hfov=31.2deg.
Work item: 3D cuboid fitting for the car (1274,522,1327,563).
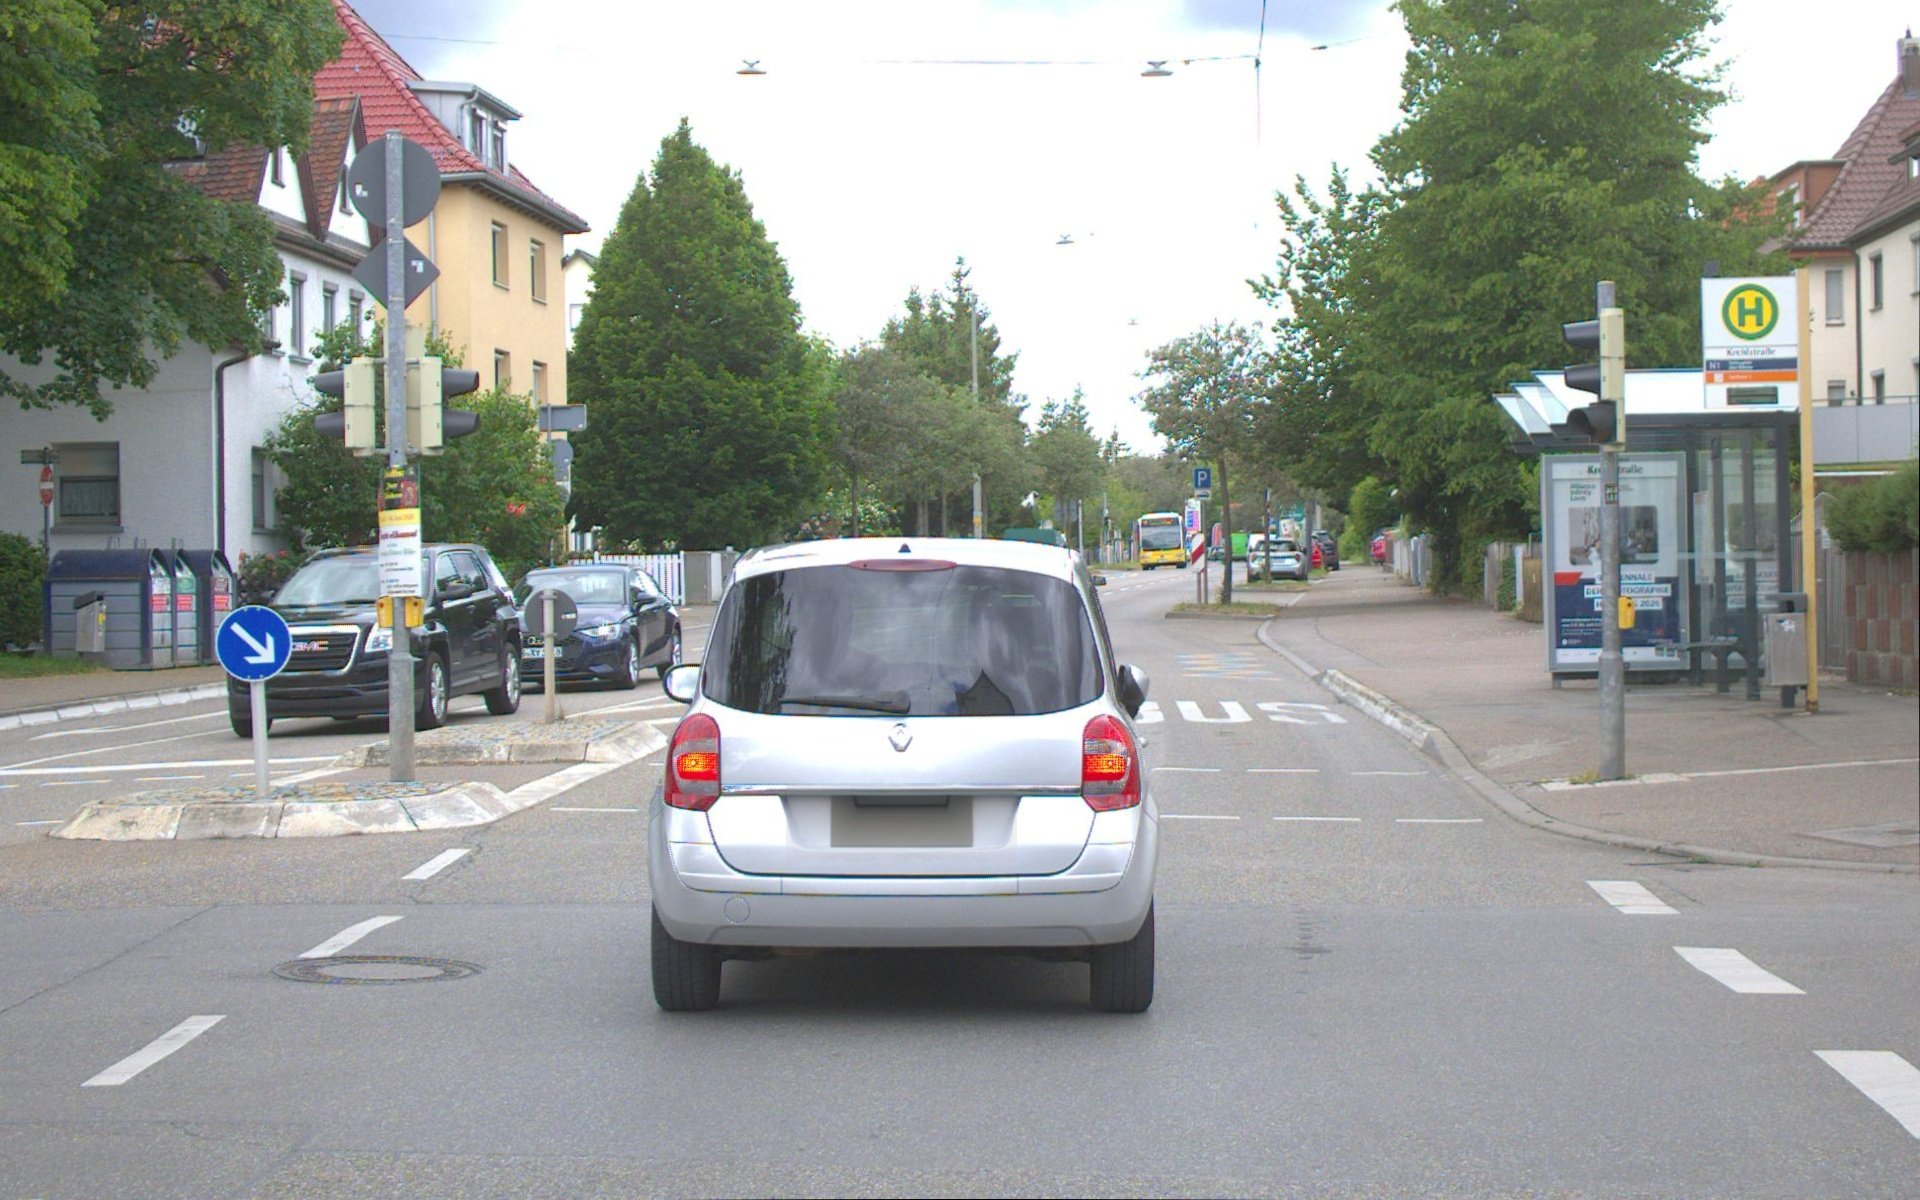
[{"bbox_3d":[12.057,-2.034,121.691,1.663,1.388,3.666,-1,1,9],"label":"car"}]

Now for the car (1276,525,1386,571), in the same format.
[{"bbox_3d":[14.494,-2.020,134.329,3.987,1.491,1.810,-4,1,-1],"label":"car"}]

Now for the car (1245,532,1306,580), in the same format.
[{"bbox_3d":[9.421,-1.307,102.518,1.650,1.378,3.999,0,0,7],"label":"car"}]

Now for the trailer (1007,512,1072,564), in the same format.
[{"bbox_3d":[3.356,-2.560,143.517,2.312,2.079,5.871,0,0,5],"label":"trailer"}]

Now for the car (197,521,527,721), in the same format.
[{"bbox_3d":[-5.421,0.181,31.748,1.758,1.629,4.594,-3,0,6],"label":"car"}]

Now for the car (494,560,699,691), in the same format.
[{"bbox_3d":[-4.160,0.278,39.922,1.564,1.415,4.130,-1,0,5],"label":"car"}]

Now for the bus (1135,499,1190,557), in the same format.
[{"bbox_3d":[11.706,-4.142,197.752,2.632,3.075,12.068,-2,1,5],"label":"bus"}]

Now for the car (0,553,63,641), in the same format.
[{"bbox_3d":[-16.436,0.049,54.304,3.987,1.327,1.722,-3,0,5],"label":"car"}]

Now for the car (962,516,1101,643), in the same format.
[{"bbox_3d":[0.960,-0.293,48.089,1.829,1.670,3.574,-1,1,0],"label":"car"}]

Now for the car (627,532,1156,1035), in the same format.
[{"bbox_3d":[-0.258,0.564,12.657,1.630,1.551,4.000,0,0,-1],"label":"car"}]
